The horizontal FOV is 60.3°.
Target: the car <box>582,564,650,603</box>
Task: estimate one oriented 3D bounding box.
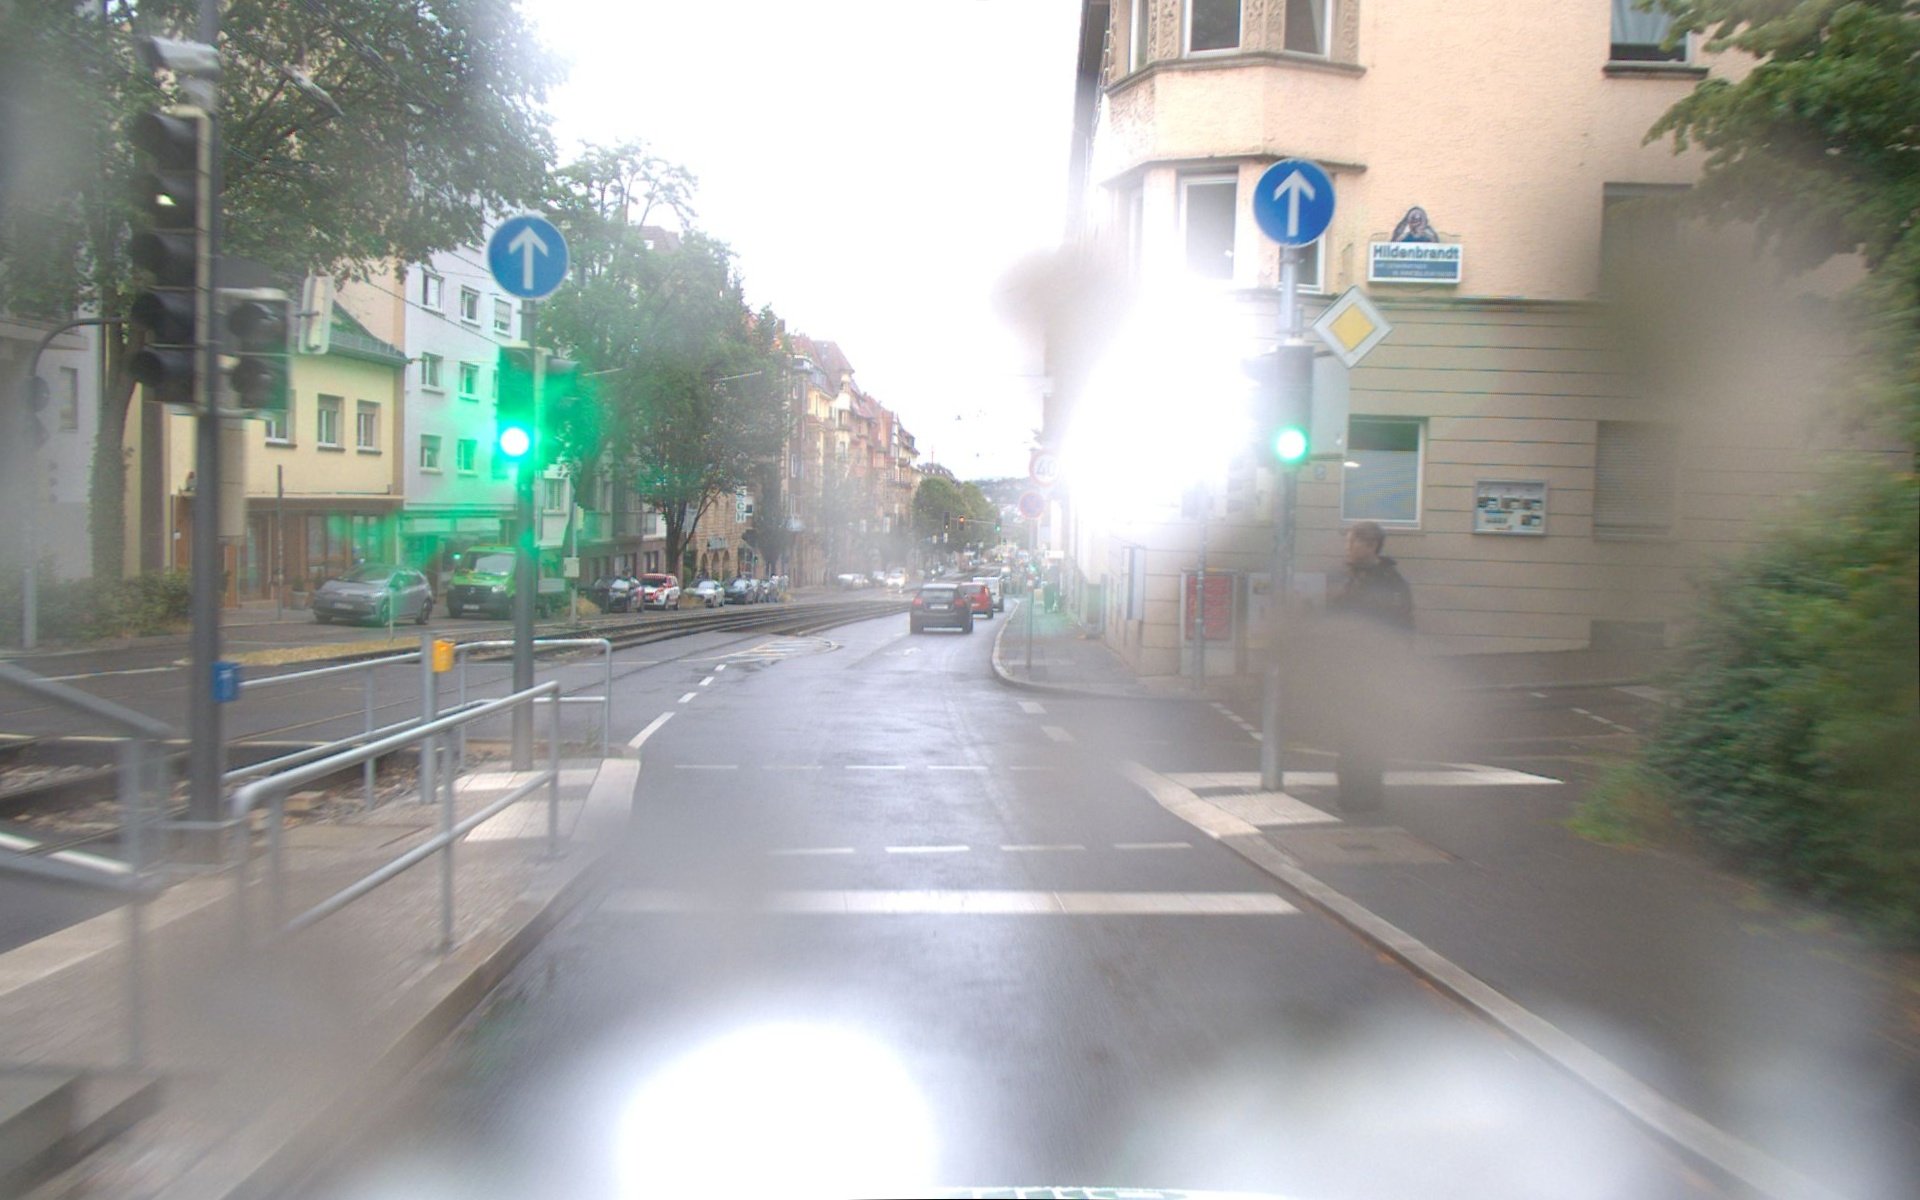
[{"bbox_3d":[-14.007,-0.664,67.541,1.736,1.478,4.256,-1,0,2],"label":"car"}]

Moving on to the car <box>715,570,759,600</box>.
[{"bbox_3d":[-12.781,-0.864,94.894,1.736,1.647,4.257,-1,1,2],"label":"car"}]

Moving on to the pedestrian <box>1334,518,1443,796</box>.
[{"bbox_3d":[2.935,0.377,11.367,0.542,1.845,0.650,1,0,-1],"label":"pedestrian"}]

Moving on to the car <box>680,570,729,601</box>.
[{"bbox_3d":[-13.294,-0.749,86.217,1.736,1.514,4.257,-1,0,2],"label":"car"}]

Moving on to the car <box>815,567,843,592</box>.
[{"bbox_3d":[-11.118,-1.763,141.052,1.952,2.049,4.347,-1,0,1],"label":"car"}]

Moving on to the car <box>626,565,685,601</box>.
[{"bbox_3d":[-13.736,-0.777,74.784,1.736,1.573,4.256,-1,1,2],"label":"car"}]

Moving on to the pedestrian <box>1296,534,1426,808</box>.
[{"bbox_3d":[2.593,0.447,10.748,0.681,1.724,0.555,1,0,-1],"label":"pedestrian"}]

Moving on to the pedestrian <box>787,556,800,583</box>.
[{"bbox_3d":[-12.717,-2.345,126.176,0.854,2.049,0.704,-1,0,0],"label":"pedestrian"}]

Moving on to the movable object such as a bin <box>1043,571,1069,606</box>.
[{"bbox_3d":[4.796,-0.584,82.693,1.144,1.684,1.309,-1,1,-2],"label":"movable object such as a bin"}]

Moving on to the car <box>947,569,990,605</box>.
[{"bbox_3d":[0.371,-0.546,72.948,1.814,1.499,4.000,1,0,0],"label":"car"}]

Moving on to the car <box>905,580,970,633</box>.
[{"bbox_3d":[-0.634,0.171,49.381,1.813,1.499,4.001,0,1,1],"label":"car"}]

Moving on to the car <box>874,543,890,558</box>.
[{"bbox_3d":[-11.011,-7.046,233.970,1.952,2.049,4.001,0,1,1],"label":"car"}]

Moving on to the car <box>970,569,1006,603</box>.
[{"bbox_3d":[1.533,-0.768,92.669,1.908,1.824,4.144,1,0,0],"label":"car"}]

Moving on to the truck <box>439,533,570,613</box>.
[{"bbox_3d":[-14.639,-0.840,53.628,2.008,2.435,6.325,0,0,5],"label":"truck"}]

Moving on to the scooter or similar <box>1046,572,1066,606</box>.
[{"bbox_3d":[4.688,-0.556,81.187,0.900,1.632,0.862,0,1,-2],"label":"scooter or similar"}]

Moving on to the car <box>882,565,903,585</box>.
[{"bbox_3d":[-7.038,-2.598,173.545,1.952,2.049,4.347,0,1,1],"label":"car"}]

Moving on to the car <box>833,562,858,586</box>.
[{"bbox_3d":[-10.423,-2.334,151.067,1.952,2.049,4.347,-1,0,1],"label":"car"}]

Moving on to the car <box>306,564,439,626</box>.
[{"bbox_3d":[-15.352,-0.162,43.488,1.690,1.542,4.498,0,1,3],"label":"car"}]
